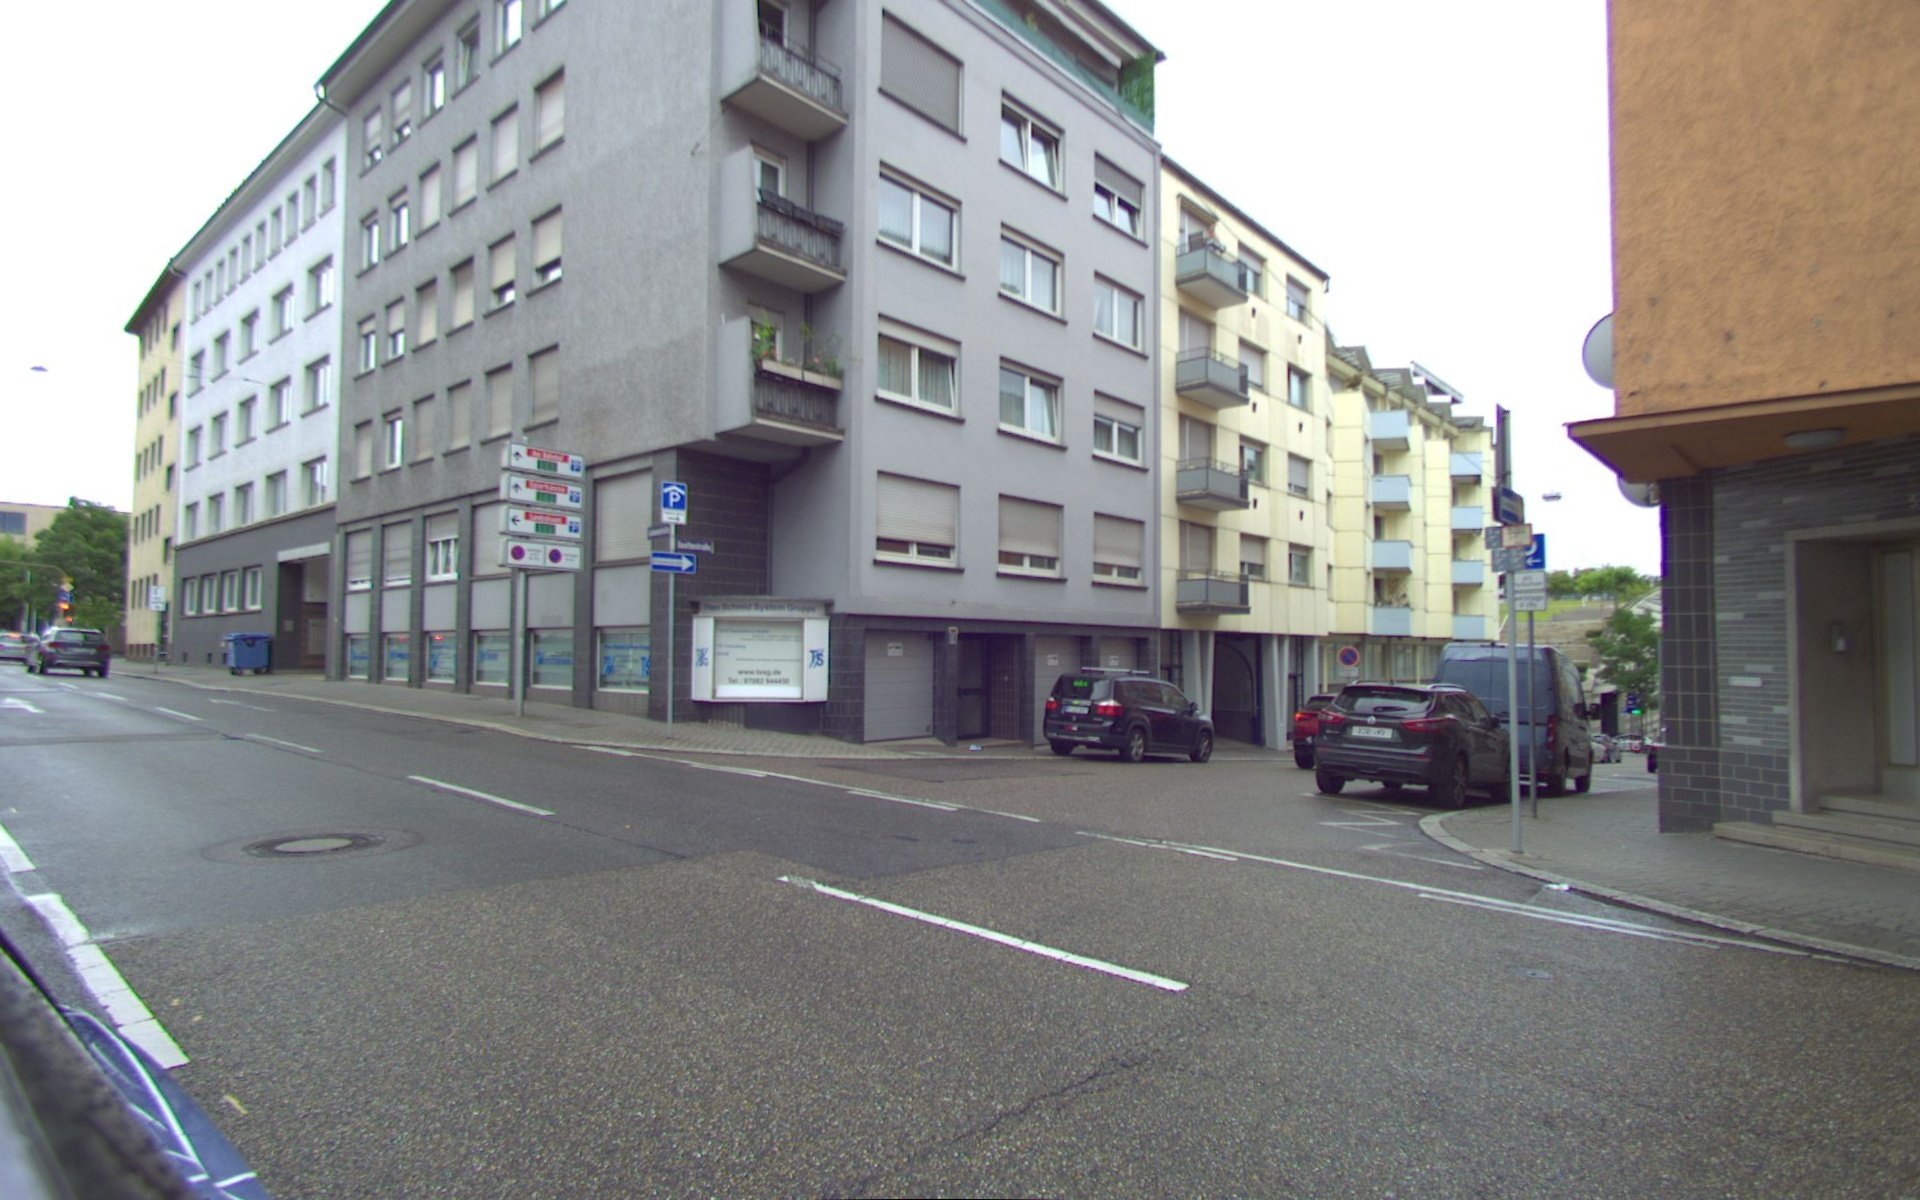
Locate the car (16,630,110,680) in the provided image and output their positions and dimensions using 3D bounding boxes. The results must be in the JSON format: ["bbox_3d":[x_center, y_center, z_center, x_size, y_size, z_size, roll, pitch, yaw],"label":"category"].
[{"bbox_3d":[-29.559,1.789,33.324,4.157,1.519,1.685,-1,-5,41],"label":"car"}]

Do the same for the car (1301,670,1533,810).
[{"bbox_3d":[6.485,1.944,14.101,1.842,1.589,4.098,-1,-8,41],"label":"car"}]

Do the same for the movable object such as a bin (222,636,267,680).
[{"bbox_3d":[-22.901,1.848,32.372,1.096,1.343,0.933,-1,0,41],"label":"movable object such as a bin"}]

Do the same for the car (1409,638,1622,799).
[{"bbox_3d":[10.485,2.207,18.796,2.249,2.481,5.975,-1,-7,41],"label":"car"}]

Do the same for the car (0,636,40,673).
[{"bbox_3d":[-43.921,2.460,46.558,4.371,1.602,1.858,-1,-3,41],"label":"car"}]

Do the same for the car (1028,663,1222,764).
[{"bbox_3d":[3.347,2.273,19.913,1.794,1.700,4.186,-1,-8,41],"label":"car"}]

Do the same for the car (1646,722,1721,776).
[{"bbox_3d":[25.926,5.325,36.215,1.817,1.688,3.998,-1,-8,41],"label":"car"}]

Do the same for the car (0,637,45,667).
[{"bbox_3d":[-55.878,3.058,59.984,3.998,1.695,1.972,-1,-4,41],"label":"car"}]

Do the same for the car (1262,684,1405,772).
[{"bbox_3d":[8.017,2.621,21.480,1.799,1.596,4.263,-1,-4,36],"label":"car"}]

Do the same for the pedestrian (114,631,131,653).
[{"bbox_3d":[-46.273,2.310,55.924,0.407,1.158,0.575,-2,-6,42],"label":"pedestrian"}]
